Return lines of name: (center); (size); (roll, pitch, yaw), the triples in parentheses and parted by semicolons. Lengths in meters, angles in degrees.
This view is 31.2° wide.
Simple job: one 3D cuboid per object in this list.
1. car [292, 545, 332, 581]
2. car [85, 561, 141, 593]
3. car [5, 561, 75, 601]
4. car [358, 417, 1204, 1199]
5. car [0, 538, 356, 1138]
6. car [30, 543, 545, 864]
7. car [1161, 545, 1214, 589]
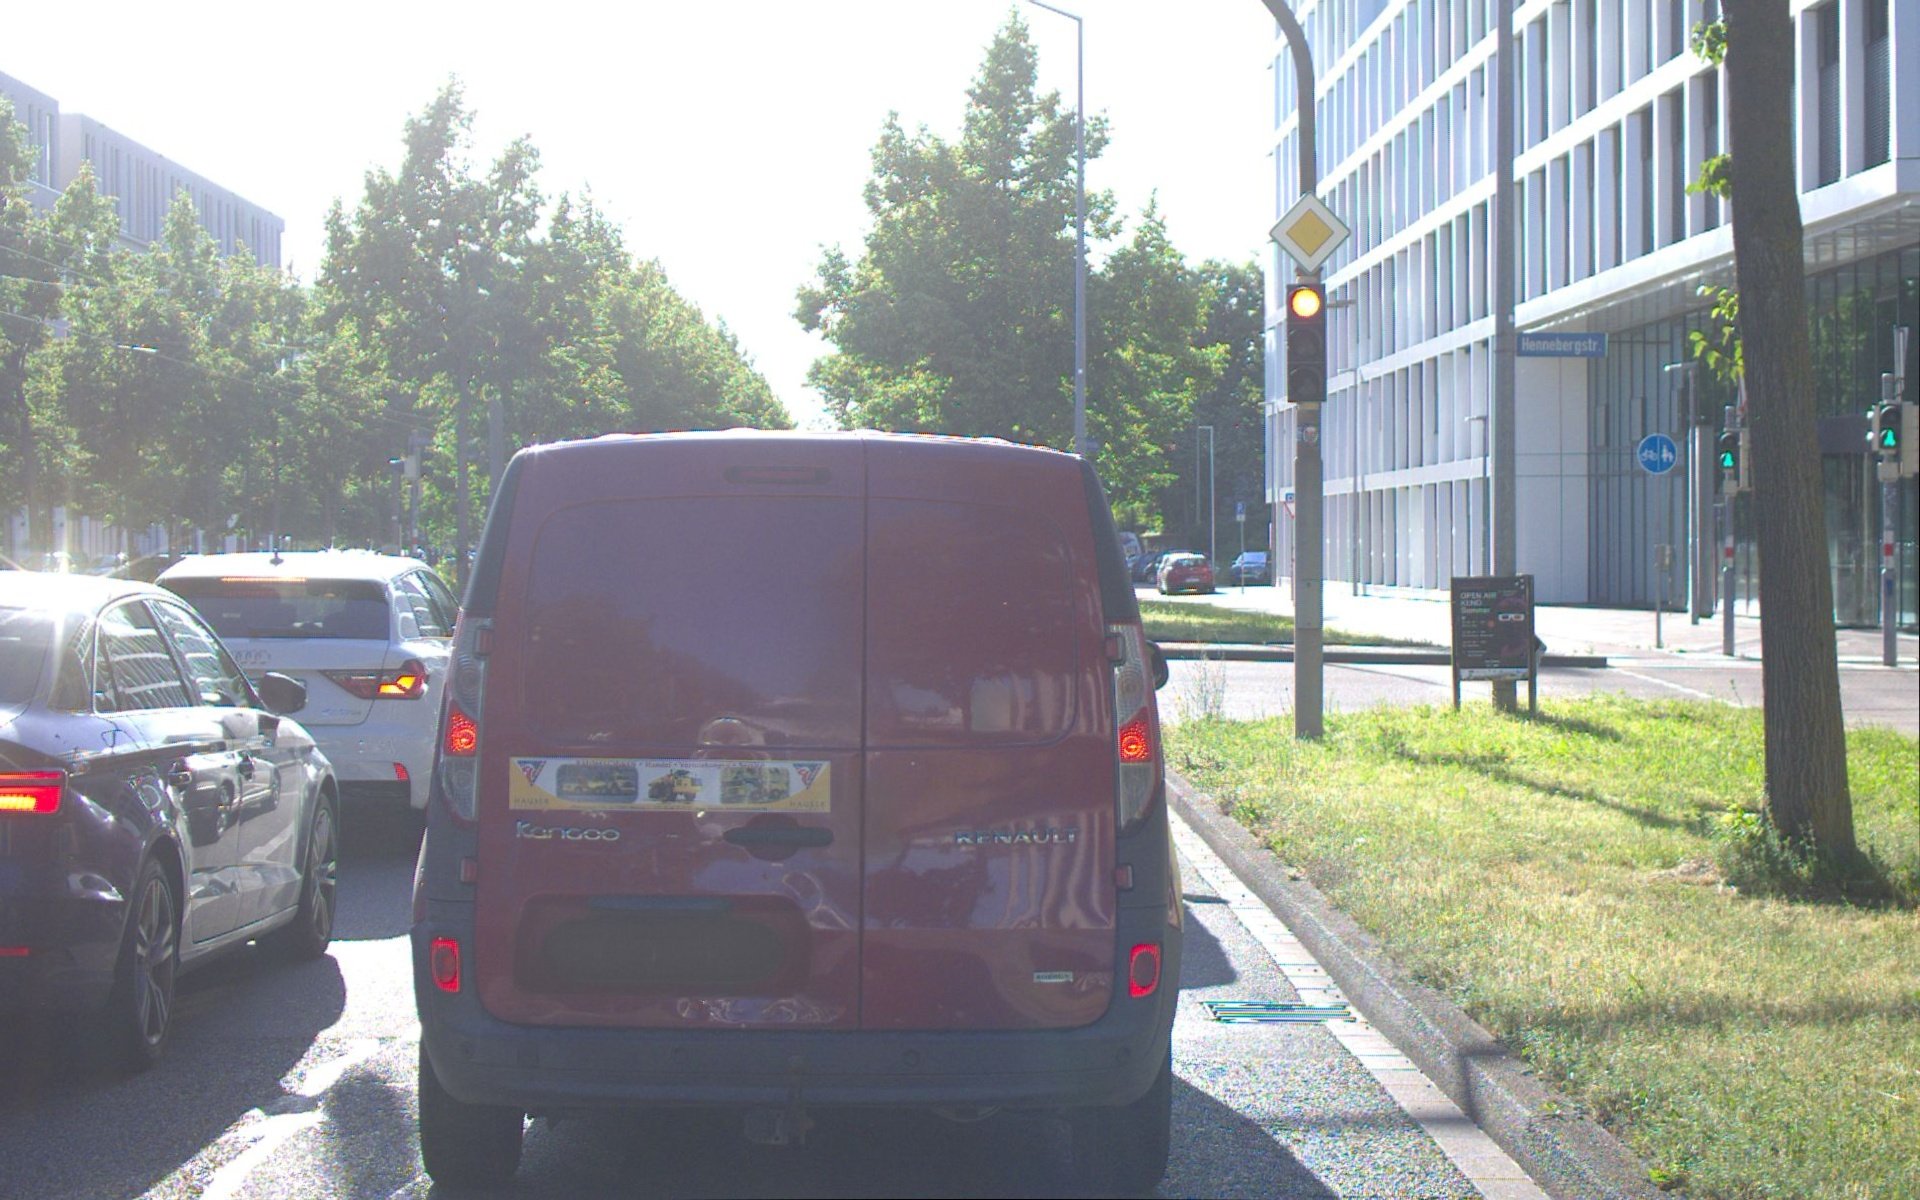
car: (-37.400, -2.132, 198.579); (1.728, 2.007, 4.001); (0, 1, -3)
car: (-36.770, -1.000, 149.253); (1.580, 1.337, 3.712); (0, 1, -1)
car: (-35.982, -0.763, 134.565); (1.776, 1.523, 3.806); (0, 1, -1)
car: (-0.379, 0.463, 9.415); (1.808, 1.788, 4.113); (0, 1, 0)
car: (-3.168, 0.570, 10.801); (1.808, 1.522, 4.113); (0, 1, 0)
car: (-3.270, 0.431, 17.508); (1.808, 1.430, 4.113); (0, 1, 0)
car: (8.453, -1.245, 127.869); (1.758, 1.606, 3.903); (0, 1, 1)
